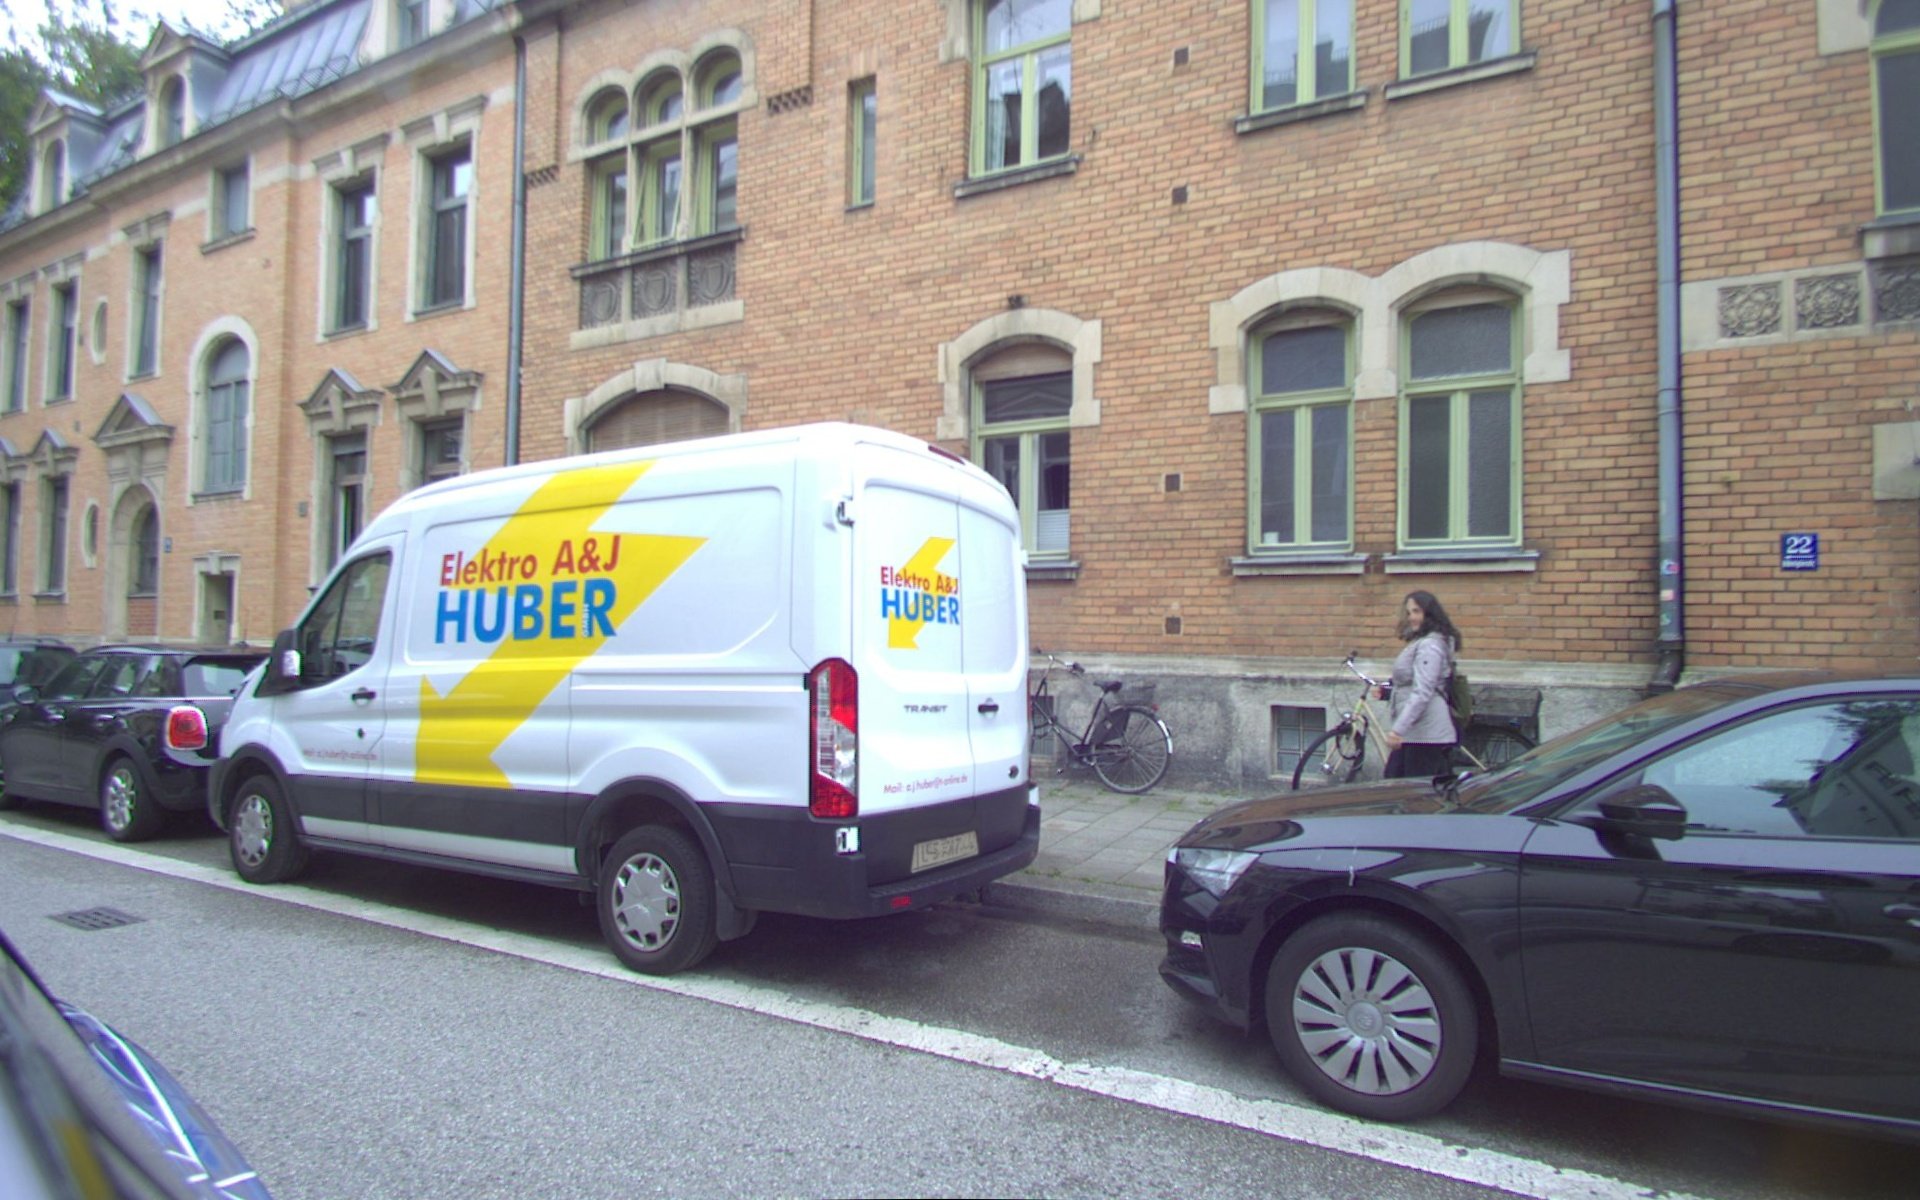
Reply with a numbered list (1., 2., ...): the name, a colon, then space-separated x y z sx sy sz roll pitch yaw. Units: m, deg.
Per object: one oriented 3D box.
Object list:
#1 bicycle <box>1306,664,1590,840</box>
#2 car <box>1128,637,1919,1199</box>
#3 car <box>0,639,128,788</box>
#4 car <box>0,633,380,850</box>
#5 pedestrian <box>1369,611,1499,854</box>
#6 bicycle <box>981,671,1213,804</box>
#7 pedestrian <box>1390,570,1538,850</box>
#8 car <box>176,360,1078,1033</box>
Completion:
1. bicycle: 3.576 1.065 7.516 1.820 1.137 0.627 -1 -3 30
2. car: 2.779 0.879 3.236 4.126 1.454 1.679 -1 -4 28
3. car: -11.054 1.161 10.991 3.965 1.454 1.679 -1 -5 28
4. car: -6.631 1.041 8.357 3.524 1.454 1.513 -1 -5 28
5. pedestrian: 3.221 0.838 6.868 0.725 1.524 0.690 0 0 32
6. bicycle: 1.143 1.134 8.667 1.916 0.993 0.498 -2 -1 30
7. pedestrian: 3.002 0.601 6.016 0.725 1.524 0.690 0 0 32
8. car: -2.102 0.433 5.923 5.201 2.497 1.968 -1 -4 30
